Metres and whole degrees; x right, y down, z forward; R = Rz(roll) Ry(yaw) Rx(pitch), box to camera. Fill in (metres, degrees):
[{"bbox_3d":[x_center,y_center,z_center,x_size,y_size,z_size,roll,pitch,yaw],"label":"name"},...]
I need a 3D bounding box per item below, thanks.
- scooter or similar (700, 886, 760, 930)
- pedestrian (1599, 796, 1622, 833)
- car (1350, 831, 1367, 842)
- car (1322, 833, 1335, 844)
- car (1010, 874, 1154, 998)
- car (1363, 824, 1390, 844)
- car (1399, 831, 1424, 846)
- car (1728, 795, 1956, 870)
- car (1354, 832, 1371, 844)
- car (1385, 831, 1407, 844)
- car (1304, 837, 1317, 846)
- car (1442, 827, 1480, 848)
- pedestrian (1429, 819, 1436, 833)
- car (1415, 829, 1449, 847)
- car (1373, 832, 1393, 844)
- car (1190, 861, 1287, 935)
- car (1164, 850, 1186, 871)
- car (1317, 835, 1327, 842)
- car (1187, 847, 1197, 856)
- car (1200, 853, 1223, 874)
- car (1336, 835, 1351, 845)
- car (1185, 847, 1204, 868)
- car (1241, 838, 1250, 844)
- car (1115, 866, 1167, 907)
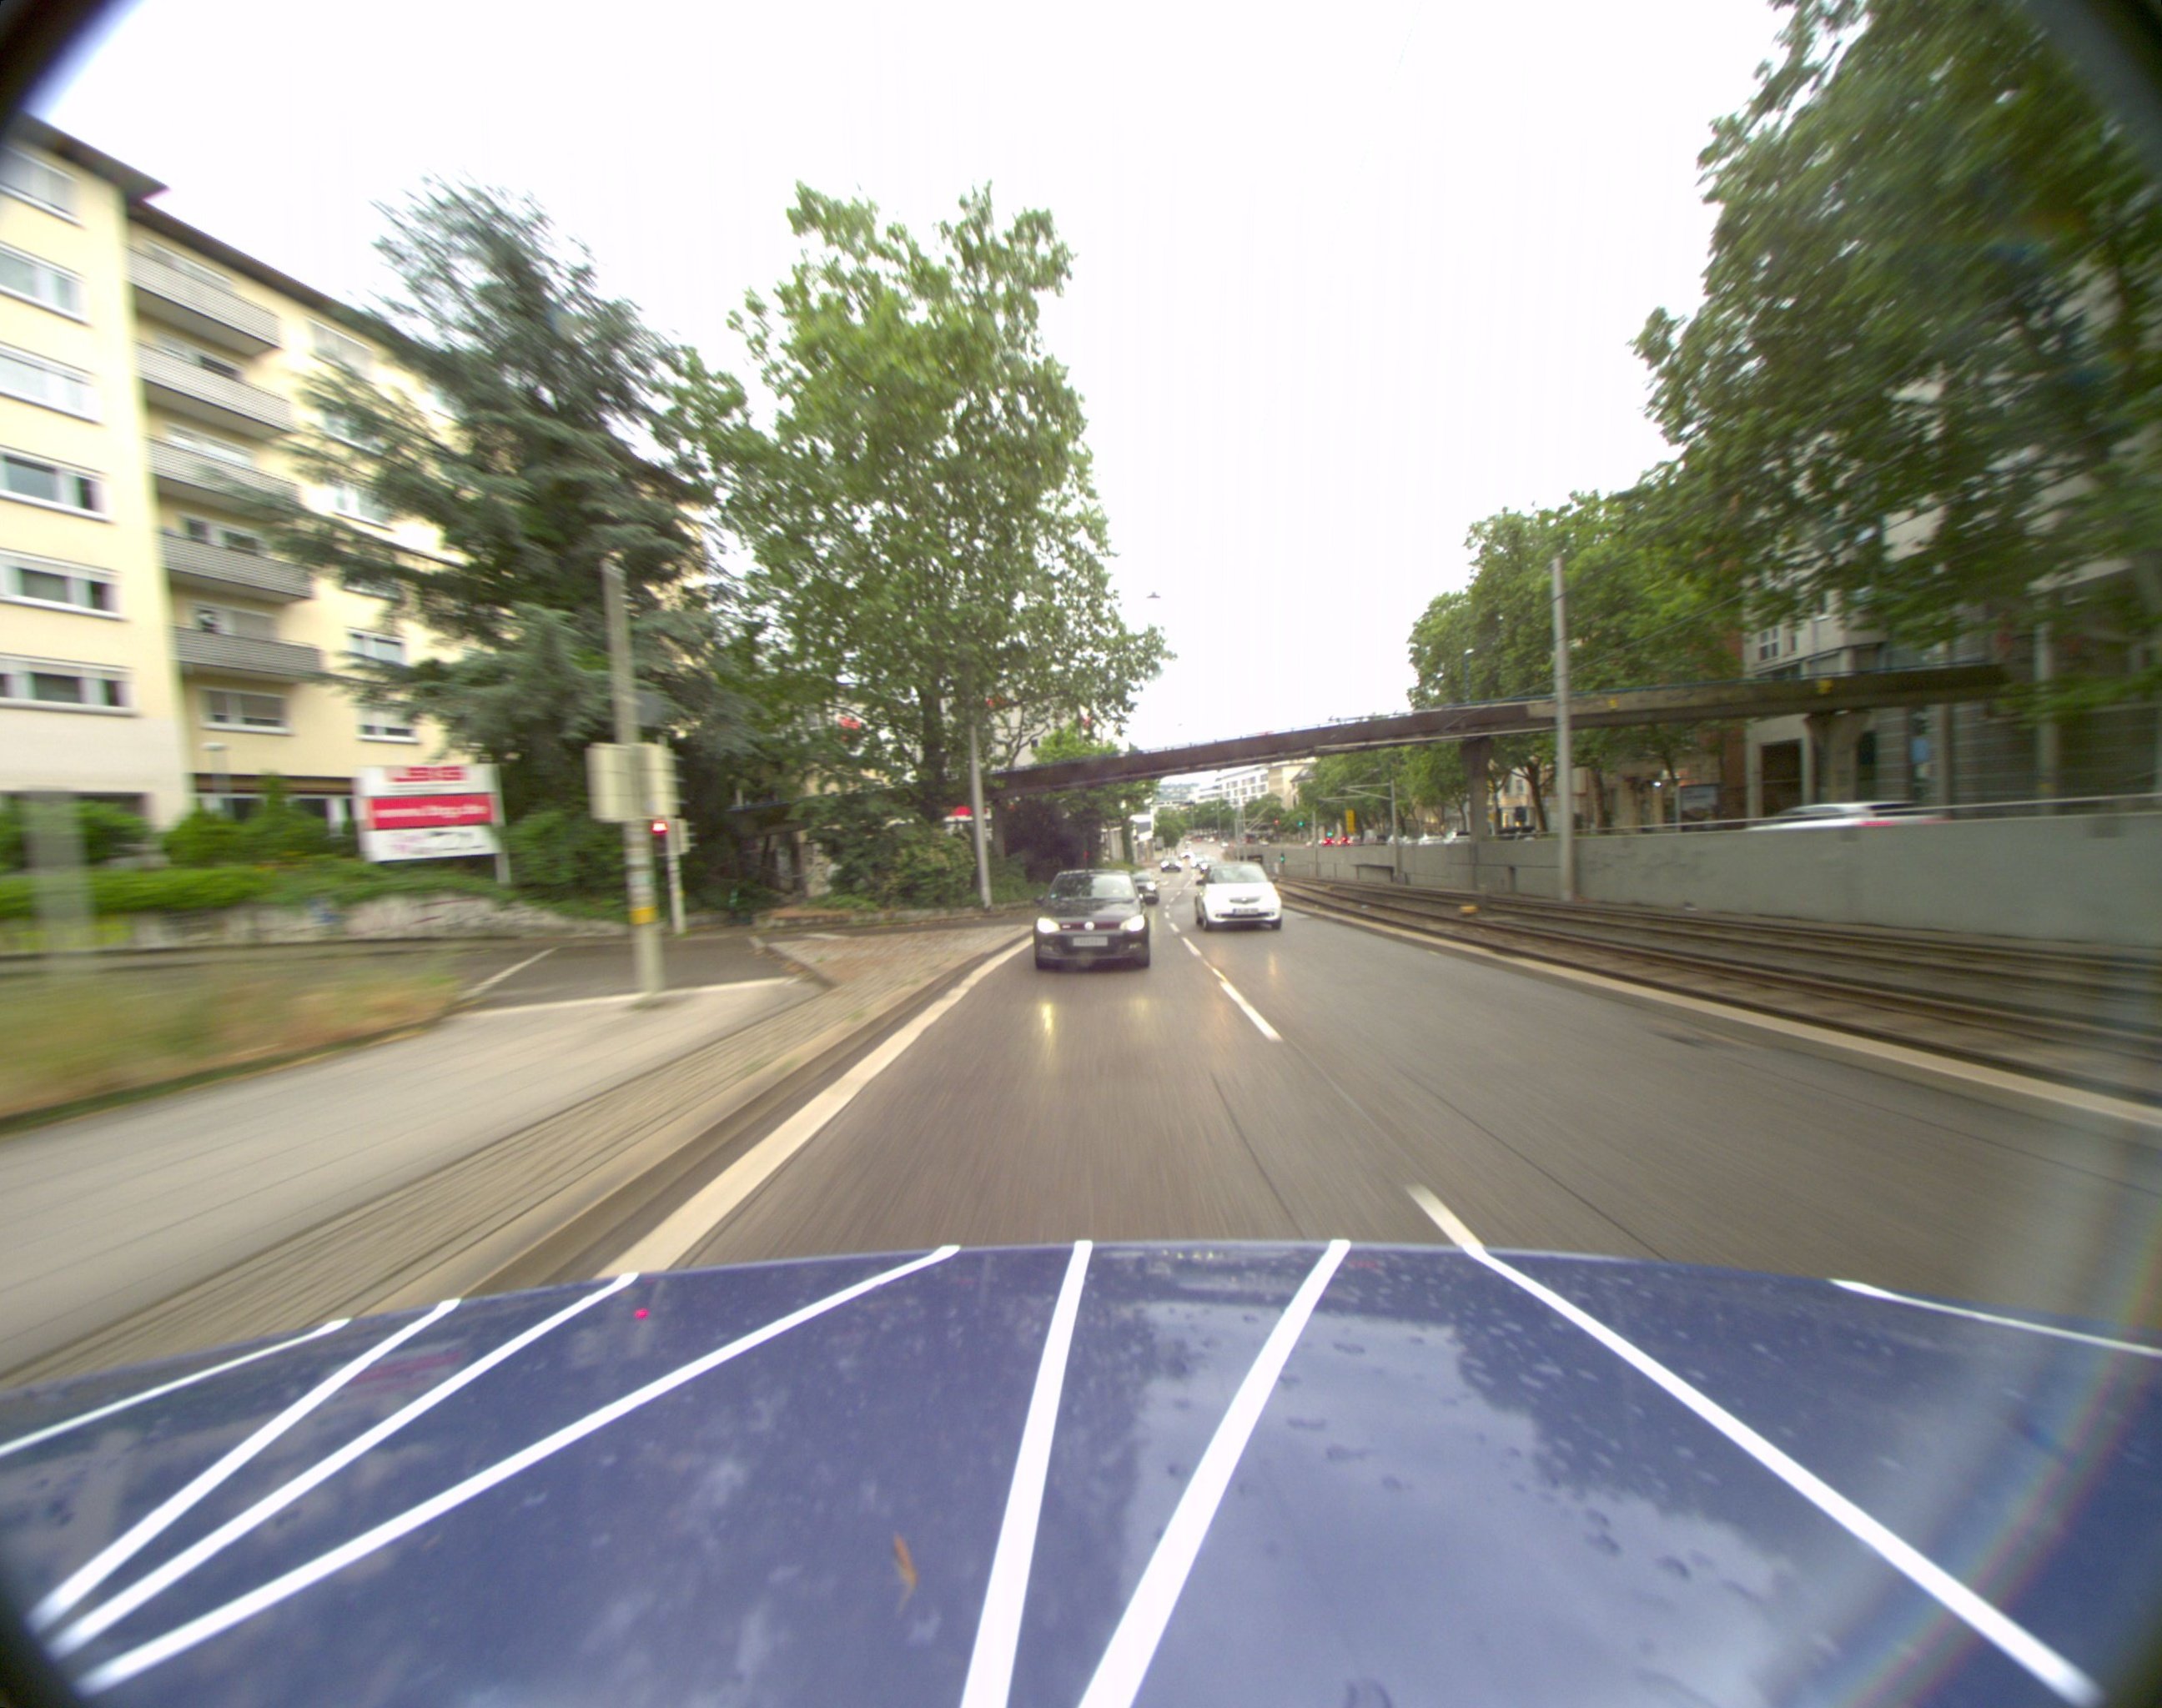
[{"bbox_3d":[-10.766,1.646,23.370,0.601,1.211,1.921,-2,0,12],"label":"scooter or similar"},{"bbox_3d":[30.241,-2.264,43.406,0.670,2.002,0.935,-5,2,14],"label":"pedestrian"},{"bbox_3d":[49.482,-3.032,135.549,1.880,1.754,4.903,-5,0,8],"label":"car"},{"bbox_3d":[49.359,-3.077,151.415,1.959,1.842,4.972,-5,0,13],"label":"car"},{"bbox_3d":[0.159,1.026,10.888,1.677,1.391,3.851,-2,-1,5],"label":"car"},{"bbox_3d":[44.334,-2.971,114.133,2.457,2.647,6.936,-5,0,12],"label":"car"},{"bbox_3d":[37.691,-1.782,86.762,1.797,1.501,4.211,-5,0,13],"label":"car"},{"bbox_3d":[19.522,-0.518,19.828,1.798,1.602,4.360,-5,0,6],"label":"car"},{"bbox_3d":[46.399,-2.606,125.390,1.880,1.754,4.904,-5,0,12],"label":"car"},{"bbox_3d":[40.236,-2.096,97.099,1.797,1.562,4.211,-5,0,13],"label":"car"},{"bbox_3d":[45.112,-2.485,149.401,1.797,1.501,4.002,-5,0,10],"label":"car"},{"bbox_3d":[32.568,-1.376,65.201,1.797,1.602,4.115,-5,0,11],"label":"car"},{"bbox_3d":[45.728,-3.656,98.862,0.524,1.738,0.622,-7,1,20],"label":"pedestrian"},{"bbox_3d":[35.179,-1.615,76.285,1.930,1.592,5.203,-5,0,12],"label":"car"},{"bbox_3d":[42.173,-2.217,106.295,1.797,1.501,4.675,-5,0,12],"label":"car"},{"bbox_3d":[3.610,0.995,18.061,1.798,1.527,4.003,-2,-2,6],"label":"car"},{"bbox_3d":[9.184,0.610,74.033,1.797,1.657,4.002,-6,1,10],"label":"car"},{"bbox_3d":[59.710,-3.868,188.354,1.849,1.501,4.020,-5,0,15],"label":"car"},{"bbox_3d":[22.886,-0.565,157.157,1.798,1.502,4.001,-6,1,7],"label":"car"},{"bbox_3d":[11.659,0.825,67.684,1.797,1.502,4.002,-6,1,10],"label":"car"},{"bbox_3d":[42.780,-2.297,123.975,1.797,1.501,4.111,-5,0,12],"label":"car"},{"bbox_3d":[12.472,0.352,83.083,1.797,2.021,4.002,-6,1,10],"label":"car"},{"bbox_3d":[51.736,-4.151,238.733,1.851,1.501,4.821,-5,0,1],"label":"car"},{"bbox_3d":[2.683,1.373,33.284,1.749,1.433,3.708,1,3,12],"label":"car"}]
